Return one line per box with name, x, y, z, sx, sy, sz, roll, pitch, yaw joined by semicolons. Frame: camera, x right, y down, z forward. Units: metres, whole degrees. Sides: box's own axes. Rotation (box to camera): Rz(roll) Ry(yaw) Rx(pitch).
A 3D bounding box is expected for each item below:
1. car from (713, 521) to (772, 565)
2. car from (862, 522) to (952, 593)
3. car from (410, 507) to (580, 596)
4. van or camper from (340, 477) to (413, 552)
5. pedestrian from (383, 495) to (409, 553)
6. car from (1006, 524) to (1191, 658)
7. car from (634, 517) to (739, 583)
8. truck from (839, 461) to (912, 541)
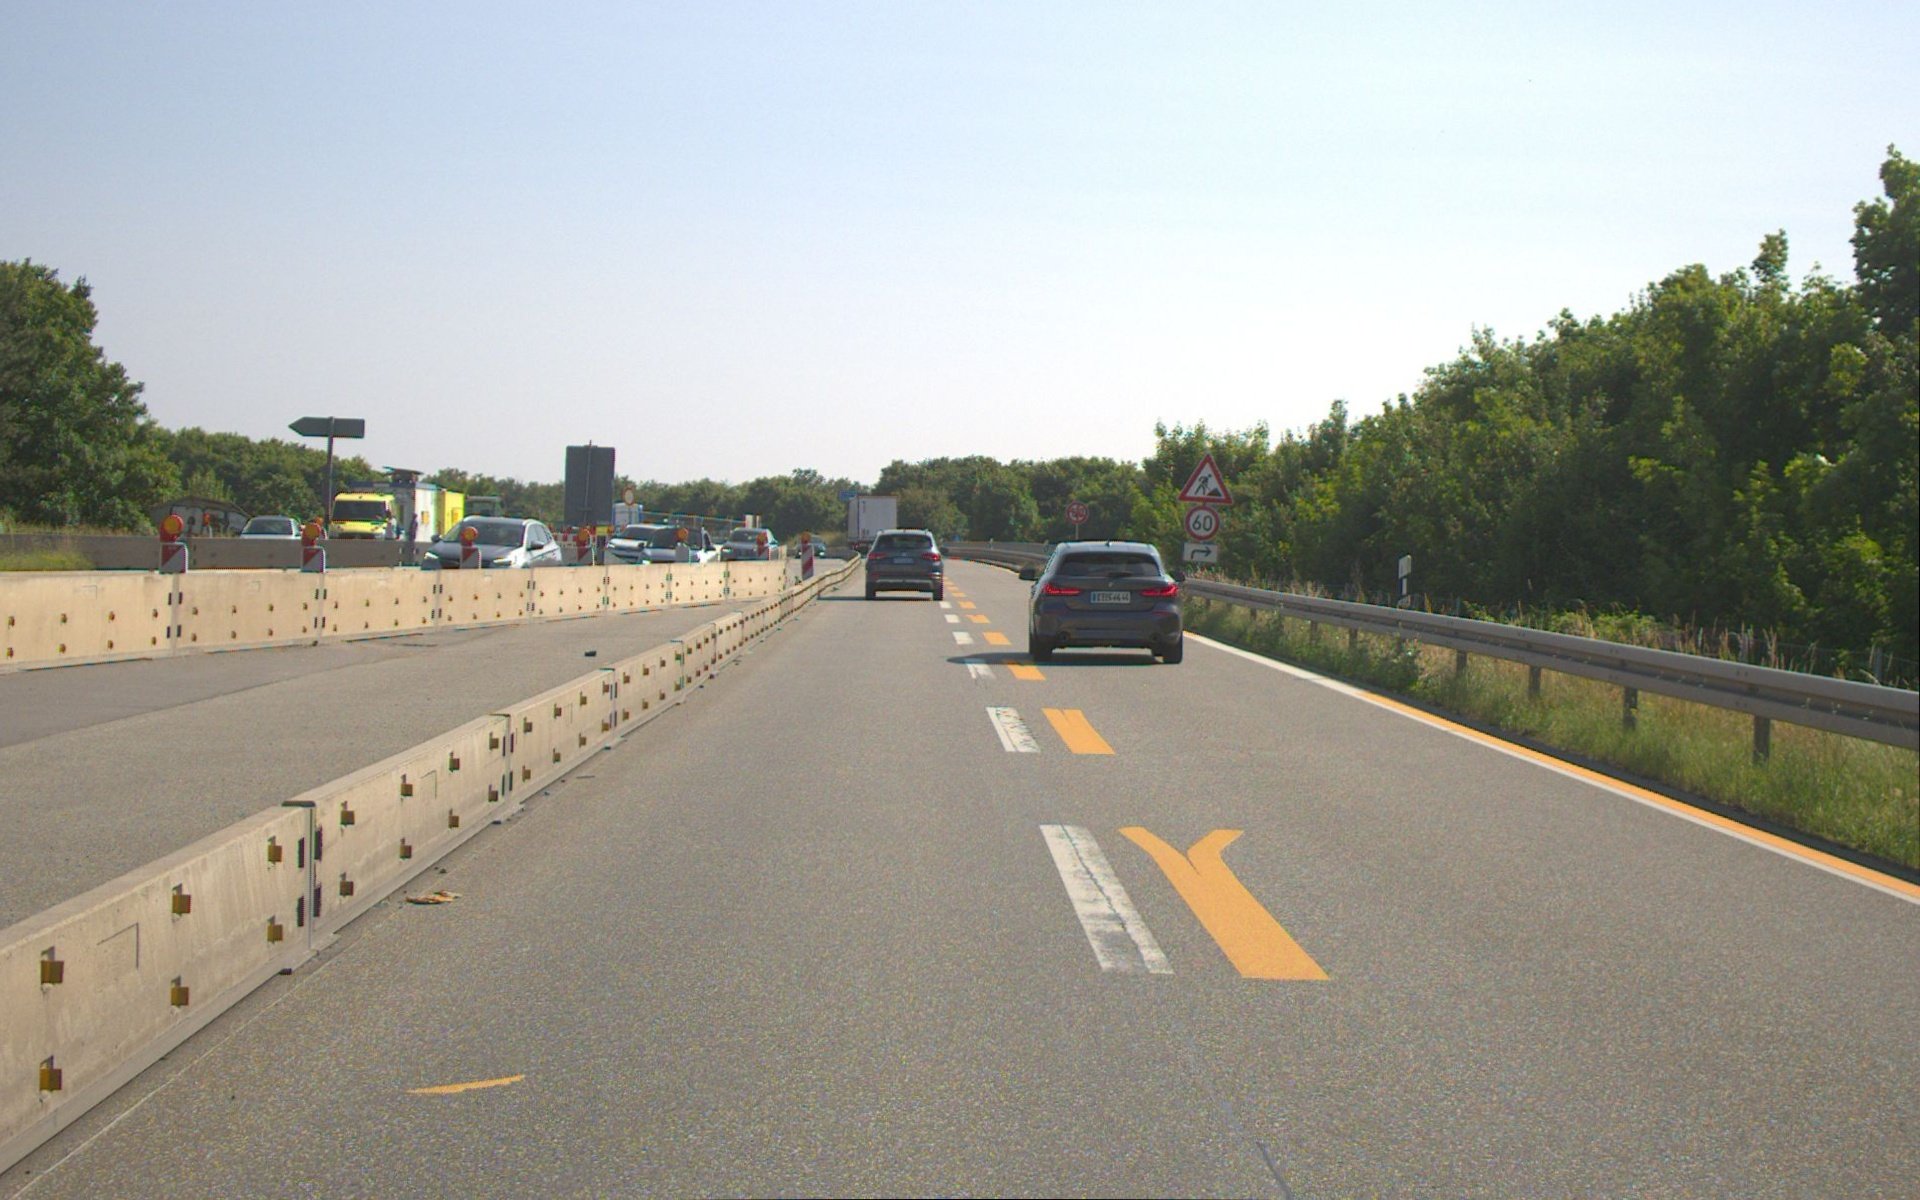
car;-8.208;-2.167;130.058;1.993;1.616;4.849;1;1;-1
car;-1.193;-0.994;78.991;1.993;1.561;4.000;1;1;0
car;-8.473;-0.908;63.001;1.994;1.510;4.579;2;1;6
van or camper;-19.421;-2.855;114.676;1.993;2.369;6.203;1;1;-6
pedestrian;-17.987;-2.419;109.546;0.740;1.814;0.797;1;1;-12
car;1.638;-0.150;41.978;1.920;1.488;4.001;2;1;-2
car;-6.551;-1.214;82.766;1.711;1.510;4.177;2;1;6
truck;-5.584;-6.438;224.211;3.760;4.894;14.139;2;1;-5
